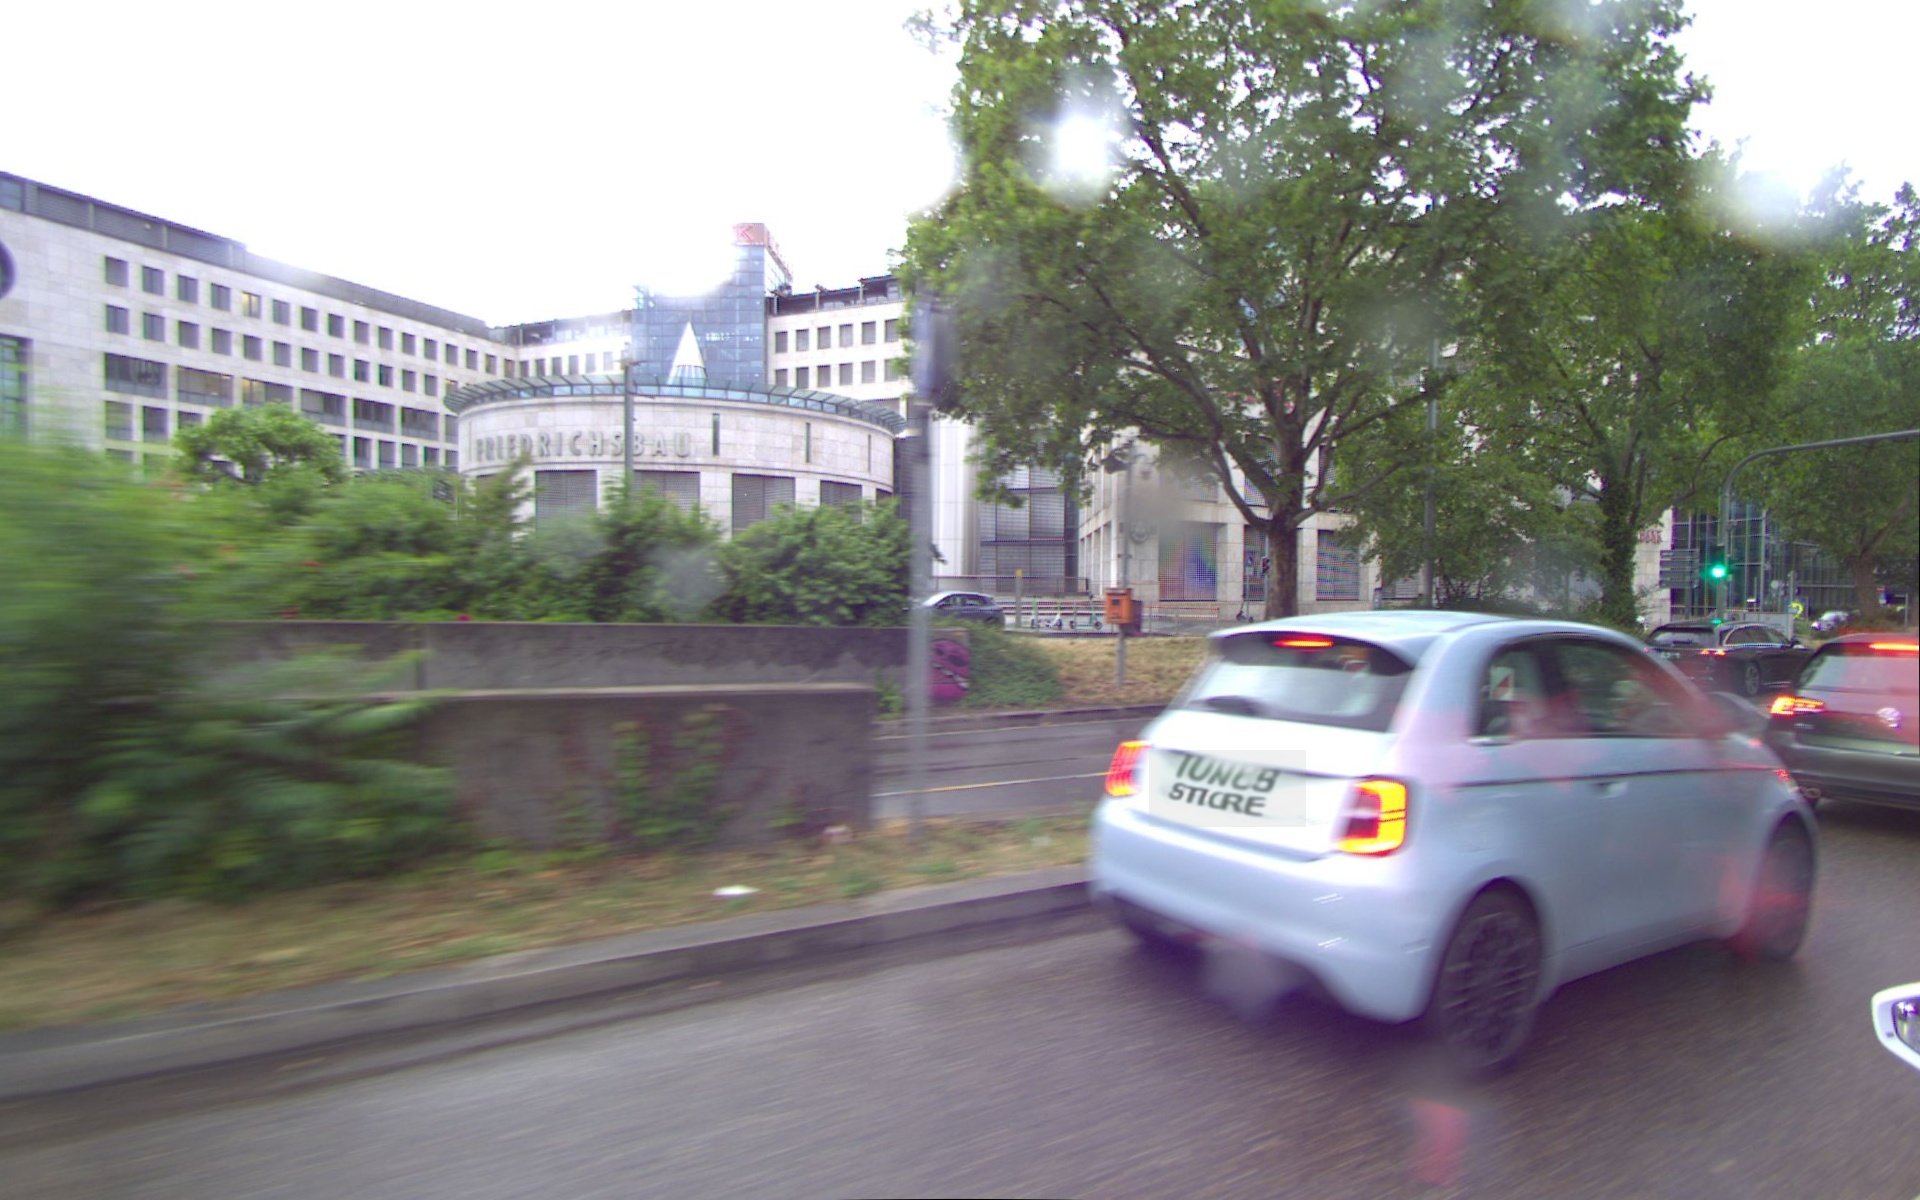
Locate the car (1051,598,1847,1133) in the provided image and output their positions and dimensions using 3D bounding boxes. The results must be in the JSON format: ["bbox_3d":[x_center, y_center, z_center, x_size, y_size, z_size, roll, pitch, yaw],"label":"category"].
[{"bbox_3d":[2.262,0.791,4.442,3.466,1.511,1.582,1,-1,-32],"label":"car"}]

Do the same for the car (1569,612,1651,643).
[{"bbox_3d":[33.617,1.426,51.945,4.186,1.422,1.682,2,0,-28],"label":"car"}]

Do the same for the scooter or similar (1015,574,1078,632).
[{"bbox_3d":[3.152,0.094,36.860,0.820,2.040,3.068,1,0,-26],"label":"scooter or similar"}]

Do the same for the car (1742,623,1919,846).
[{"bbox_3d":[8.069,0.941,7.944,4.083,1.482,1.682,1,-1,-32],"label":"car"}]

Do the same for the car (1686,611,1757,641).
[{"bbox_3d":[44.687,1.526,58.967,4.186,1.664,1.682,2,0,-28],"label":"car"}]

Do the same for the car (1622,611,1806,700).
[{"bbox_3d":[15.577,1.079,20.715,3.955,1.641,1.690,1,0,-32],"label":"car"}]

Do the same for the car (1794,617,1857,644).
[{"bbox_3d":[51.070,1.819,59.254,4.454,1.530,1.783,1,-1,-35],"label":"car"}]

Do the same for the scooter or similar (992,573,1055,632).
[{"bbox_3d":[2.258,0.064,36.353,0.820,2.040,3.068,1,0,-26],"label":"scooter or similar"}]

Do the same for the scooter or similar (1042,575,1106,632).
[{"bbox_3d":[4.223,0.131,37.474,0.820,2.040,3.068,1,0,-26],"label":"scooter or similar"}]

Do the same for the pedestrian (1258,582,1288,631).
[{"bbox_3d":[13.500,0.284,43.334,0.938,2.041,0.779,0,3,-35],"label":"pedestrian"}]

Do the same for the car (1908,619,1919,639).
[{"bbox_3d":[71.148,2.181,73.410,4.197,1.384,1.836,2,0,-35],"label":"car"}]

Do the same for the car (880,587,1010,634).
[{"bbox_3d":[-0.483,0.347,32.984,3.946,1.422,1.545,2,0,-25],"label":"car"}]
